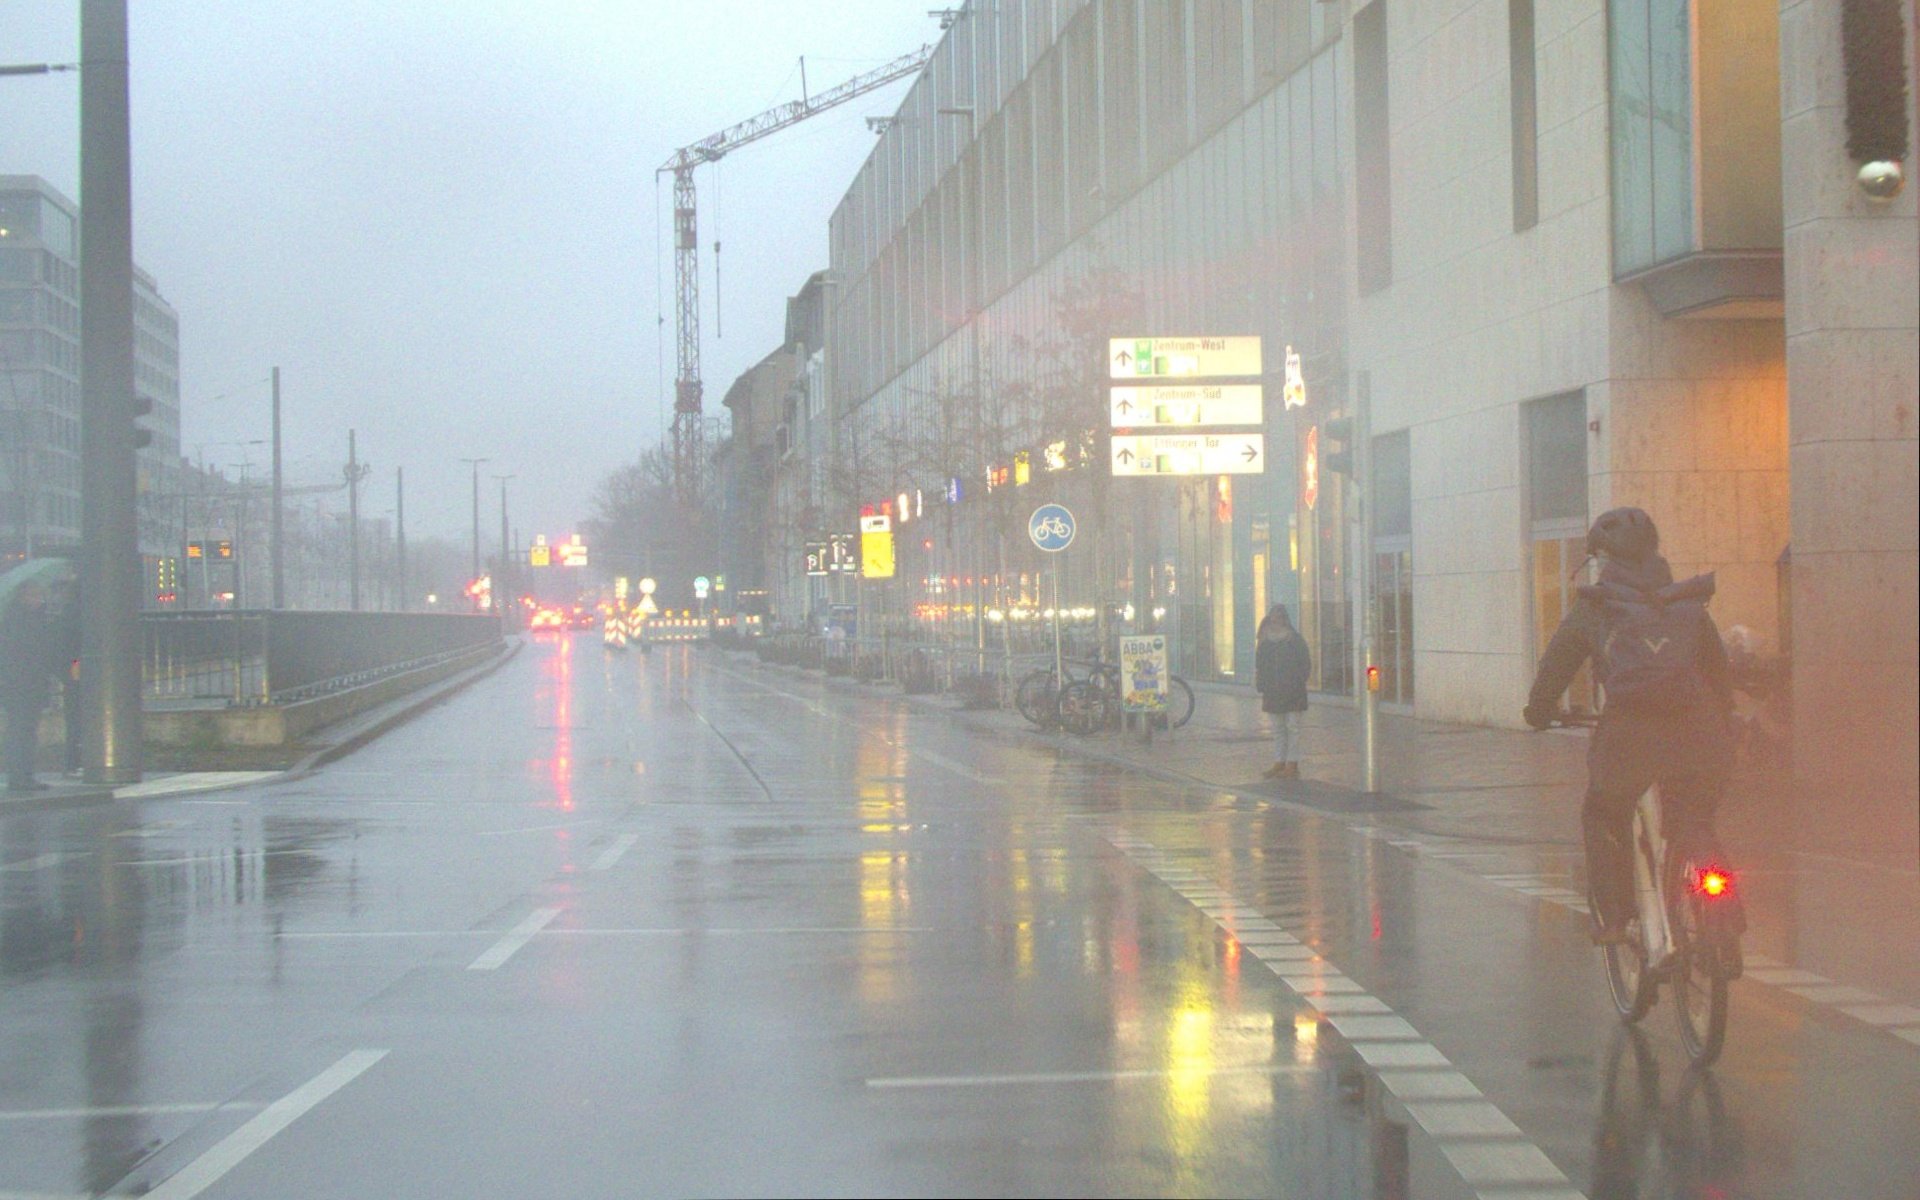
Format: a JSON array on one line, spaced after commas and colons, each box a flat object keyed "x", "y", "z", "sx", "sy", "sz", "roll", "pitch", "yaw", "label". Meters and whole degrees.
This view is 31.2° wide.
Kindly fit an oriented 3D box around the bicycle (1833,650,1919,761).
[{"x": 9.504, "y": 1.034, "z": 33.700, "sx": 1.767, "sy": 1.066, "sz": 0.525, "roll": 1, "pitch": -1, "yaw": -11, "label": "bicycle"}]

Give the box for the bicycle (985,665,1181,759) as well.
[{"x": 1.580, "y": 1.435, "z": 44.370, "sx": 2.442, "sy": 1.150, "sz": 0.674, "roll": -1, "pitch": -1, "yaw": -4, "label": "bicycle"}]

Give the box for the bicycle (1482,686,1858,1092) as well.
[{"x": 2.157, "y": 0.844, "z": 10.676, "sx": 0.708, "sy": 1.090, "sz": 1.784, "roll": 0, "pitch": 1, "yaw": -3, "label": "bicycle"}]

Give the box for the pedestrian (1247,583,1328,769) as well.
[{"x": 3.034, "y": 0.700, "z": 31.925, "sx": 0.636, "sy": 1.703, "sz": 0.573, "roll": -1, "pitch": 0, "yaw": -4, "label": "pedestrian"}]

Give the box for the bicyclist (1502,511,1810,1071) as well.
[{"x": 2.145, "y": 0.563, "z": 10.693, "sx": 0.702, "sy": 1.654, "sz": 0.964, "roll": -1, "pitch": 0, "yaw": -3, "label": "bicyclist"}]

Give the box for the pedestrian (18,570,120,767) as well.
[{"x": -7.690, "y": 0.584, "z": 29.663, "sx": 0.612, "sy": 1.680, "sz": 0.577, "roll": 0, "pitch": -1, "yaw": 39, "label": "pedestrian"}]

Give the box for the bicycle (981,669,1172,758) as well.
[{"x": 1.524, "y": 1.482, "z": 45.122, "sx": 2.425, "sy": 1.095, "sz": 0.712, "roll": -1, "pitch": -1, "yaw": -4, "label": "bicycle"}]
